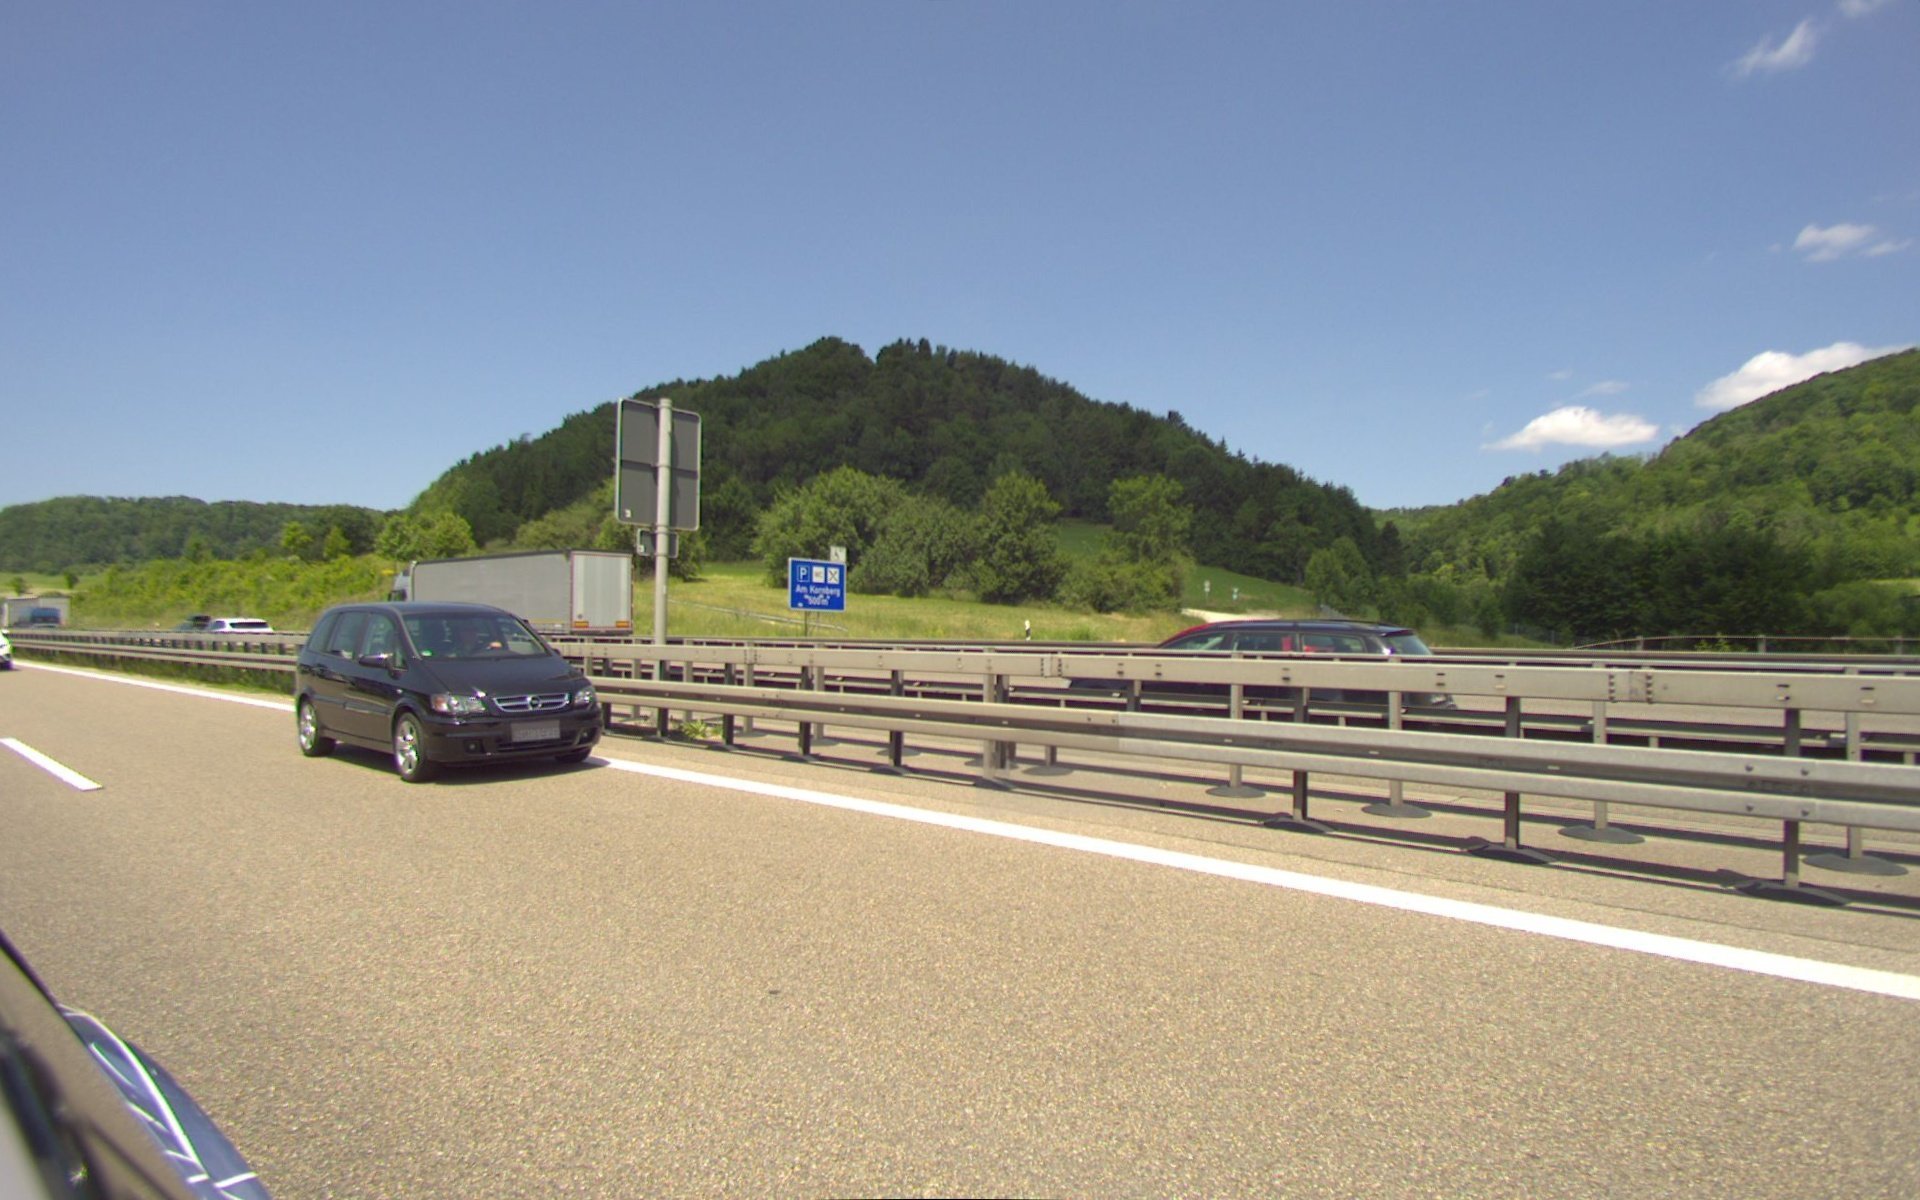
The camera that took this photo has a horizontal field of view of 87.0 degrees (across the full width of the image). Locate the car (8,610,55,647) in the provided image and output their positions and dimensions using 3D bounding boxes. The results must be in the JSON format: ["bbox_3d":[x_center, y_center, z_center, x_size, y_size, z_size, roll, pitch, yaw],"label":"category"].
[{"bbox_3d":[-76.840,2.300,83.704,6.395,2.884,2.133,-1,0,41],"label":"car"}]

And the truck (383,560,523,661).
[{"bbox_3d":[-22.797,0.454,45.384,6.951,4.179,3.244,-1,-1,41],"label":"truck"}]

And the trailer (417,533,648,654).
[{"bbox_3d":[-17.592,-0.180,40.816,12.993,4.236,3.213,-1,0,41],"label":"trailer"}]

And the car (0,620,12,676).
[{"bbox_3d":[-30.095,1.425,30.424,3.999,1.634,1.972,-1,-1,42],"label":"car"}]

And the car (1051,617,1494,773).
[{"bbox_3d":[3.450,0.951,11.765,4.625,1.479,1.732,-1,-1,40],"label":"car"}]

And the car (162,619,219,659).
[{"bbox_3d":[-42.907,2.163,56.422,4.284,2.134,1.865,-1,-2,44],"label":"car"}]

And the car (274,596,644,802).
[{"bbox_3d":[-5.219,0.845,10.263,4.443,1.647,1.782,-1,-2,41],"label":"car"}]

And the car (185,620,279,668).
[{"bbox_3d":[-28.156,1.655,39.090,4.507,1.706,1.973,-1,-1,41],"label":"car"}]

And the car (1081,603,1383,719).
[{"bbox_3d":[4.294,0.910,16.394,4.353,1.630,1.849,-1,-1,41],"label":"car"}]

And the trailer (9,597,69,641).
[{"bbox_3d":[-92.991,1.888,102.049,13.606,4.222,2.825,-1,0,41],"label":"trailer"}]
